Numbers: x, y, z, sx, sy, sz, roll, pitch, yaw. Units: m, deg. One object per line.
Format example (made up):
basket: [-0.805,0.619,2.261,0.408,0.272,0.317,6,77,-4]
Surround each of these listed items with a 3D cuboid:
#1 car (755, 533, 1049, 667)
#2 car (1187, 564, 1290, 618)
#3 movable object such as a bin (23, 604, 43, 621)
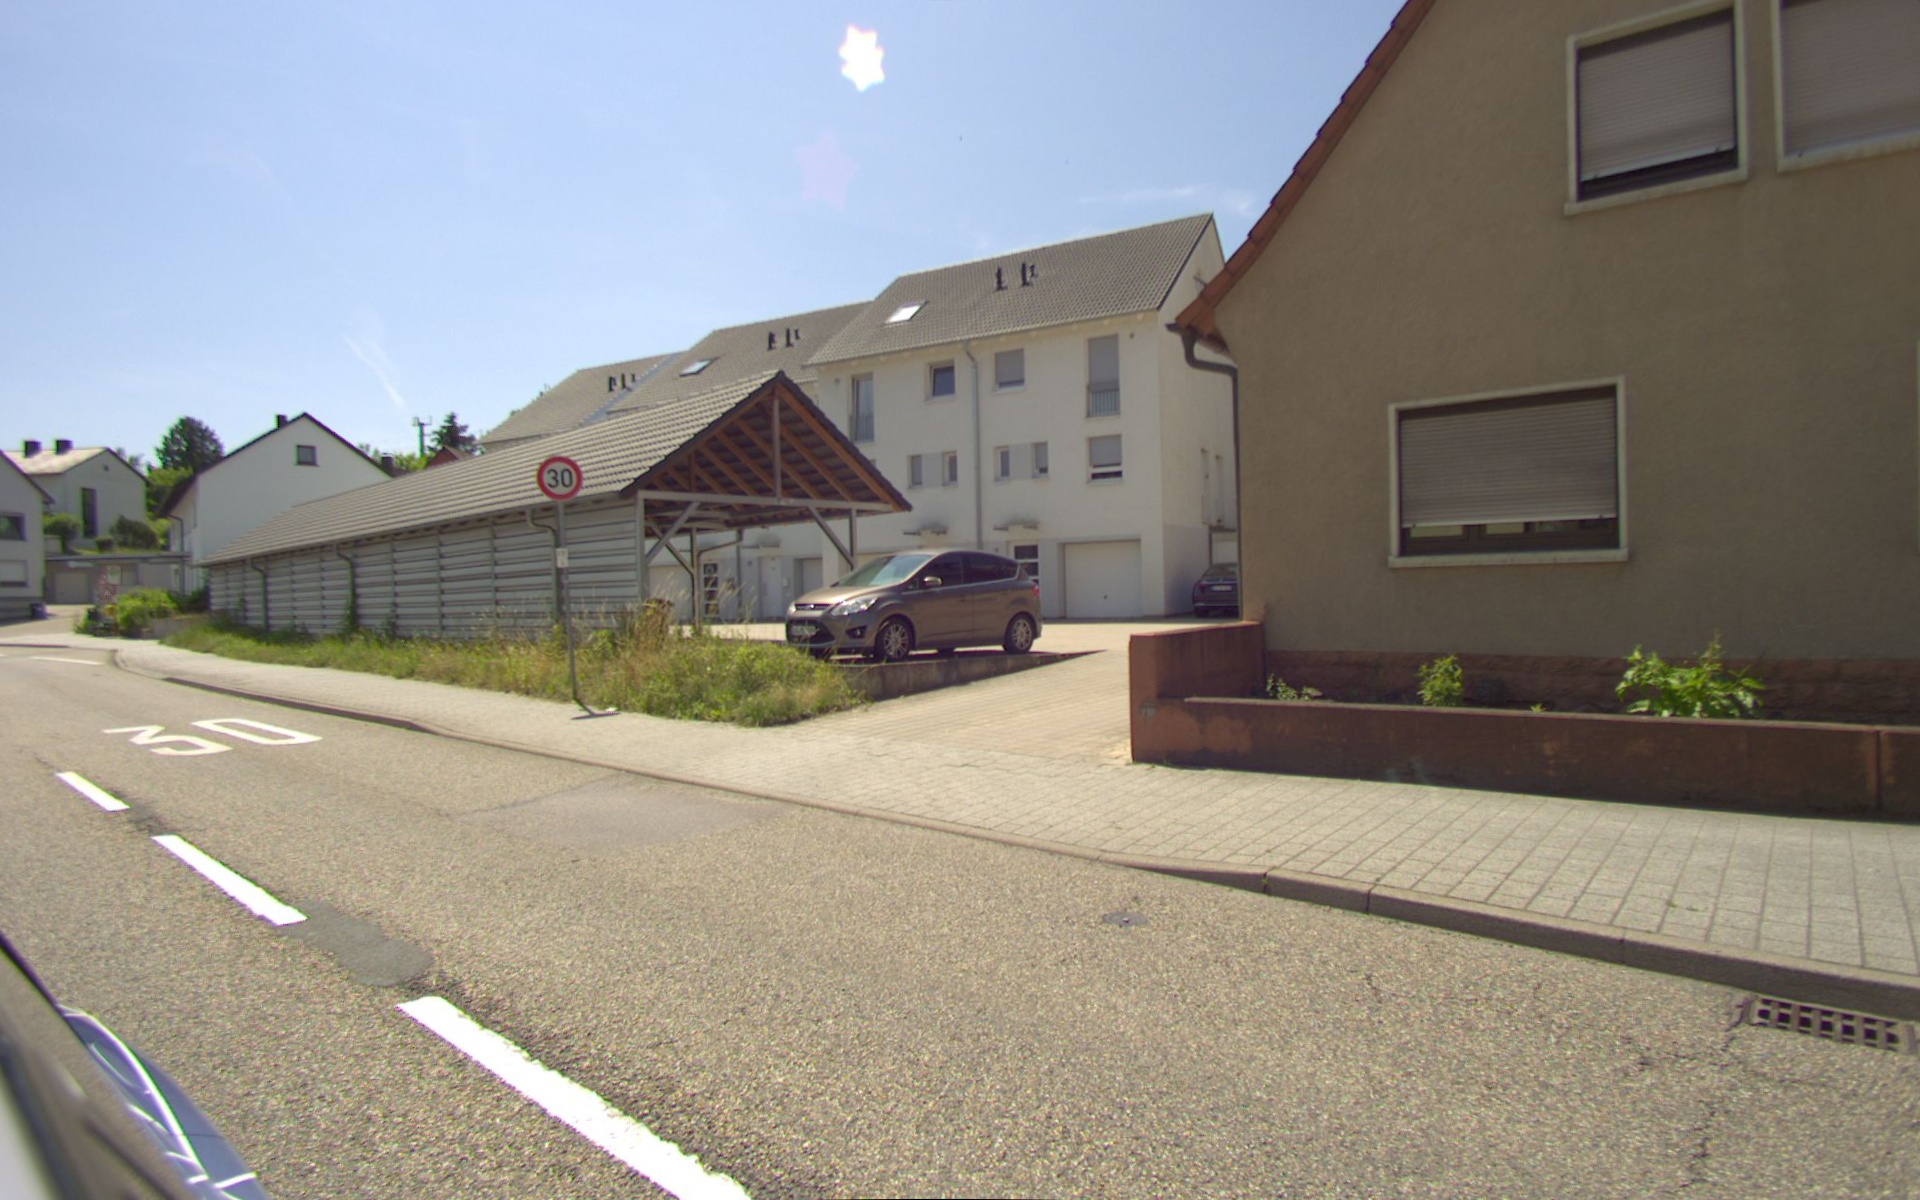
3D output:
car: [-0.717,-0.024,14.662,1.865,1.650,4.079,-1,0,43]
car: [7.683,-0.287,27.699,1.854,1.291,3.962,-1,2,29]
movable object such as a bin: [-53.883,0.712,58.831,0.591,0.941,0.600,-1,1,-4]
